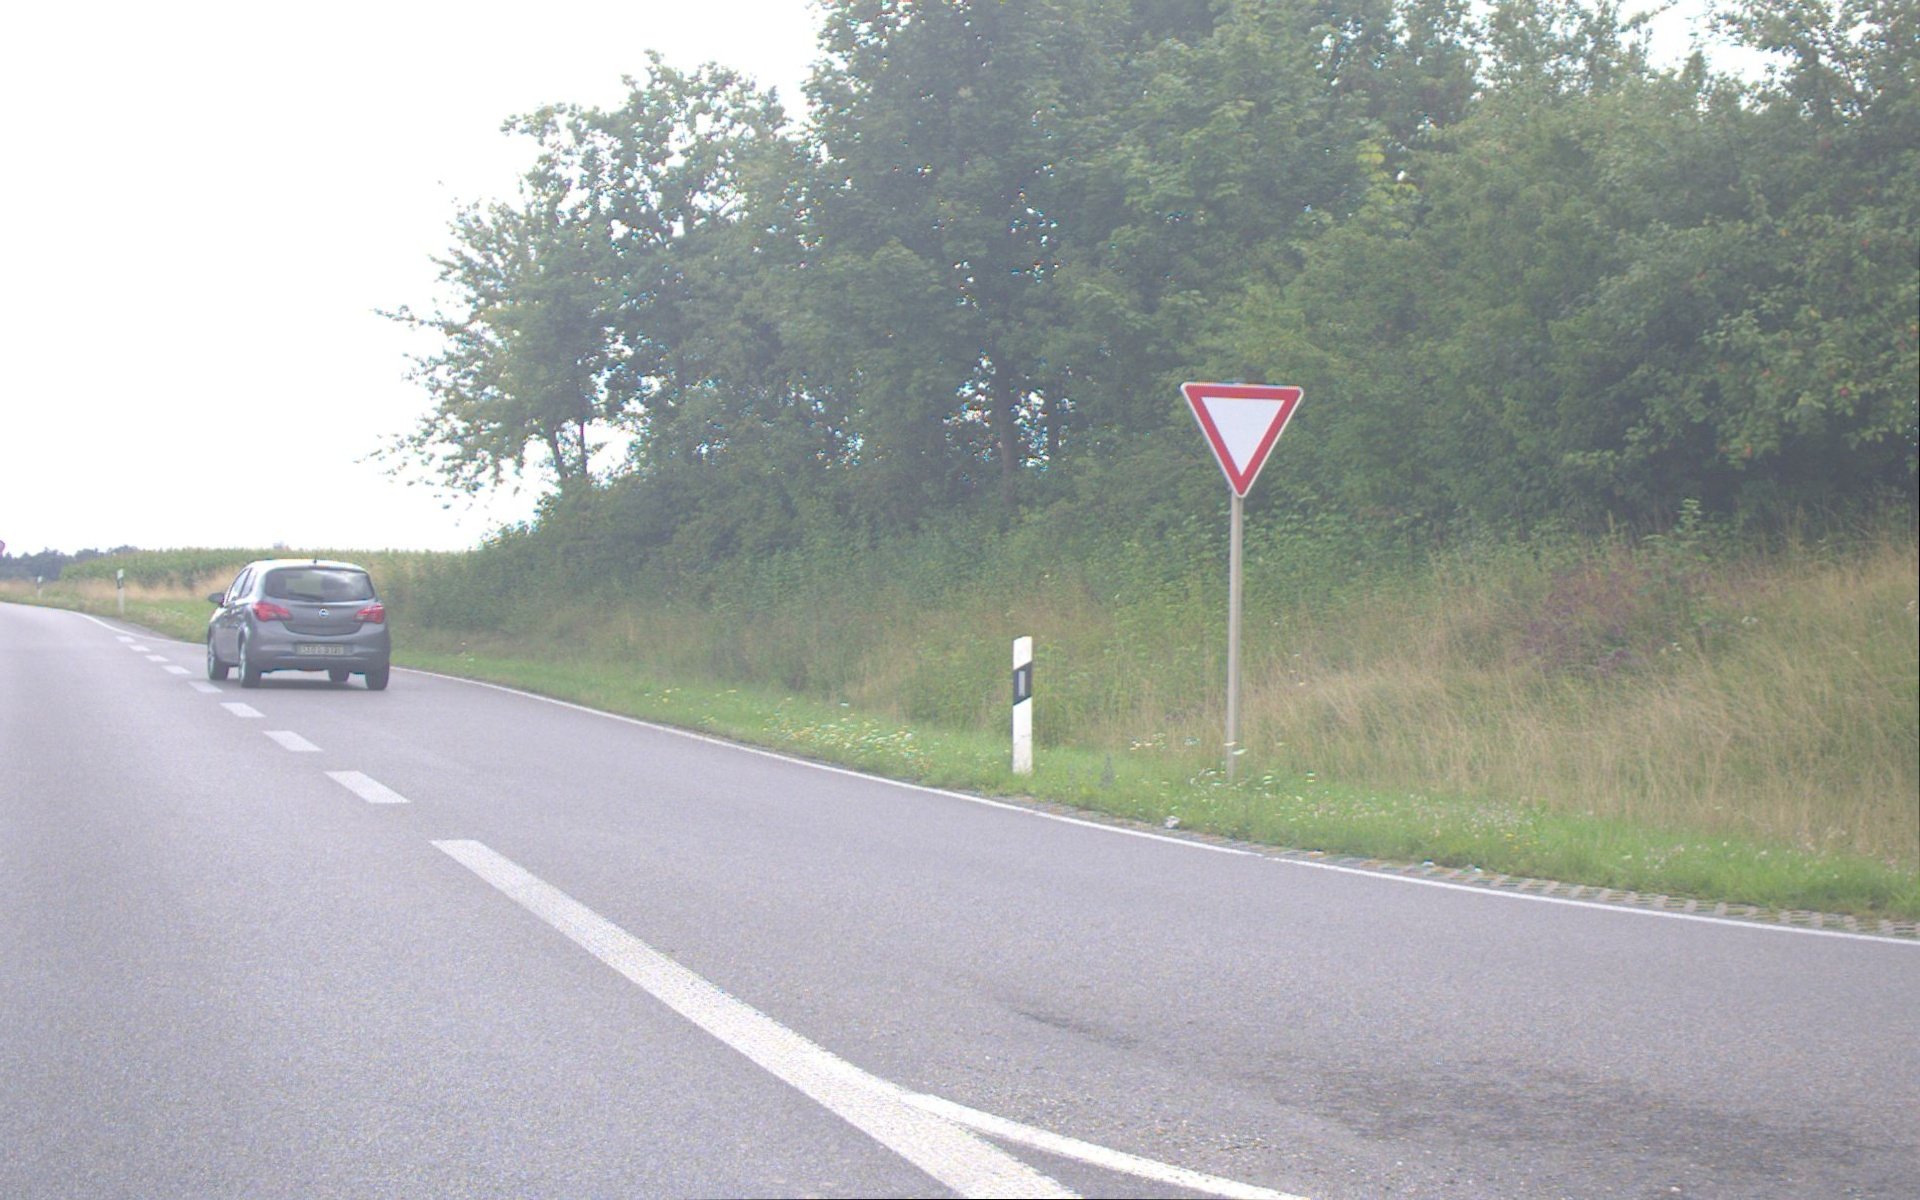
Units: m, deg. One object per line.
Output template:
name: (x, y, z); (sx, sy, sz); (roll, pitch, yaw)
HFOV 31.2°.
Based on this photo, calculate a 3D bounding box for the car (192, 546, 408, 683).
car: (-7.902, 0.146, 40.886); (1.993, 1.530, 4.001); (1, 1, -18)
